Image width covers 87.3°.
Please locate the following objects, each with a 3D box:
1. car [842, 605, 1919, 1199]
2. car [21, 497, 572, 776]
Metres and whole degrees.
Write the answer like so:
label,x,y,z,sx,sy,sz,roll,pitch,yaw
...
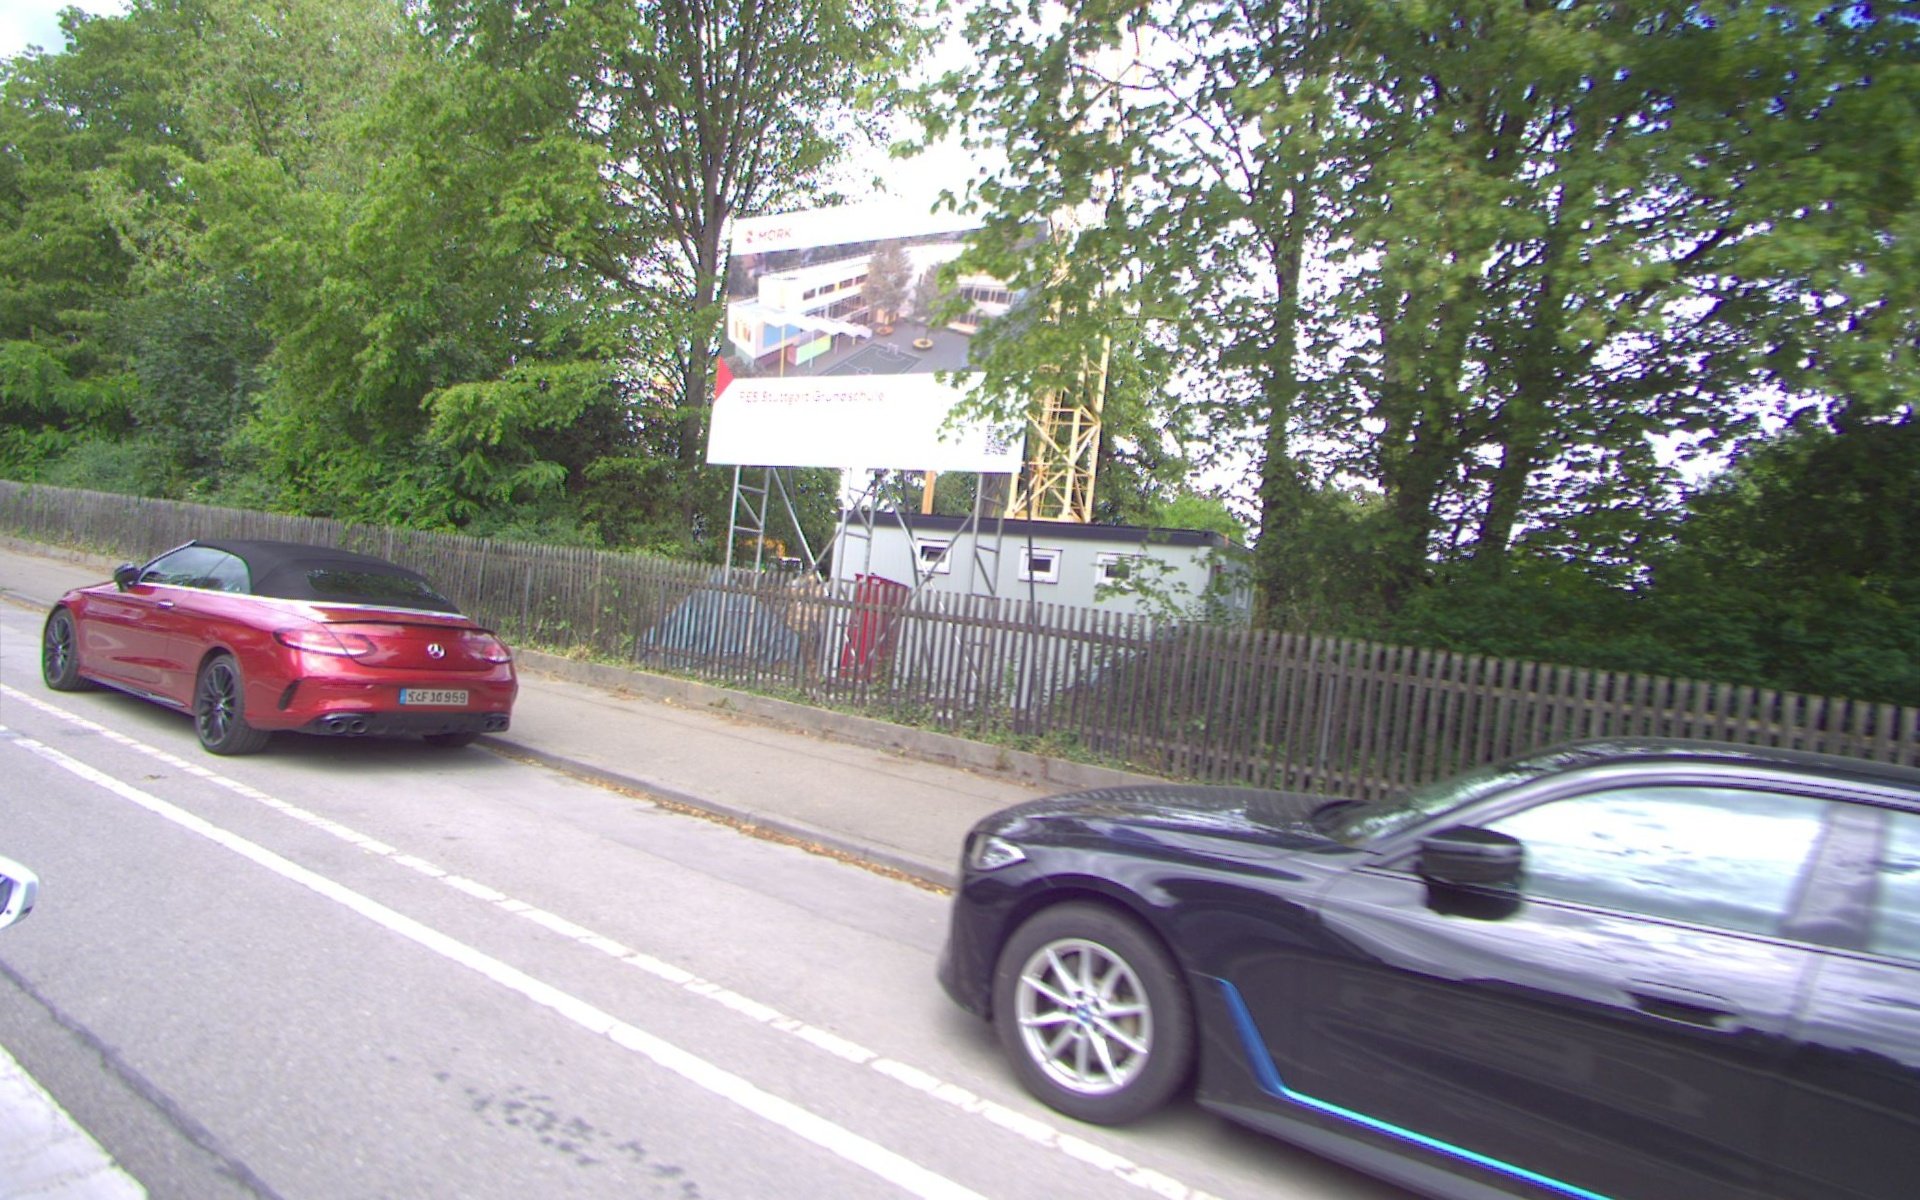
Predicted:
label,x,y,z,sx,sy,sz,roll,pitch,yaw
car,2.080,1.084,3.208,4.602,1.532,1.819,6,-2,31
car,-5.368,0.202,7.994,4.369,1.430,1.863,8,-2,31
